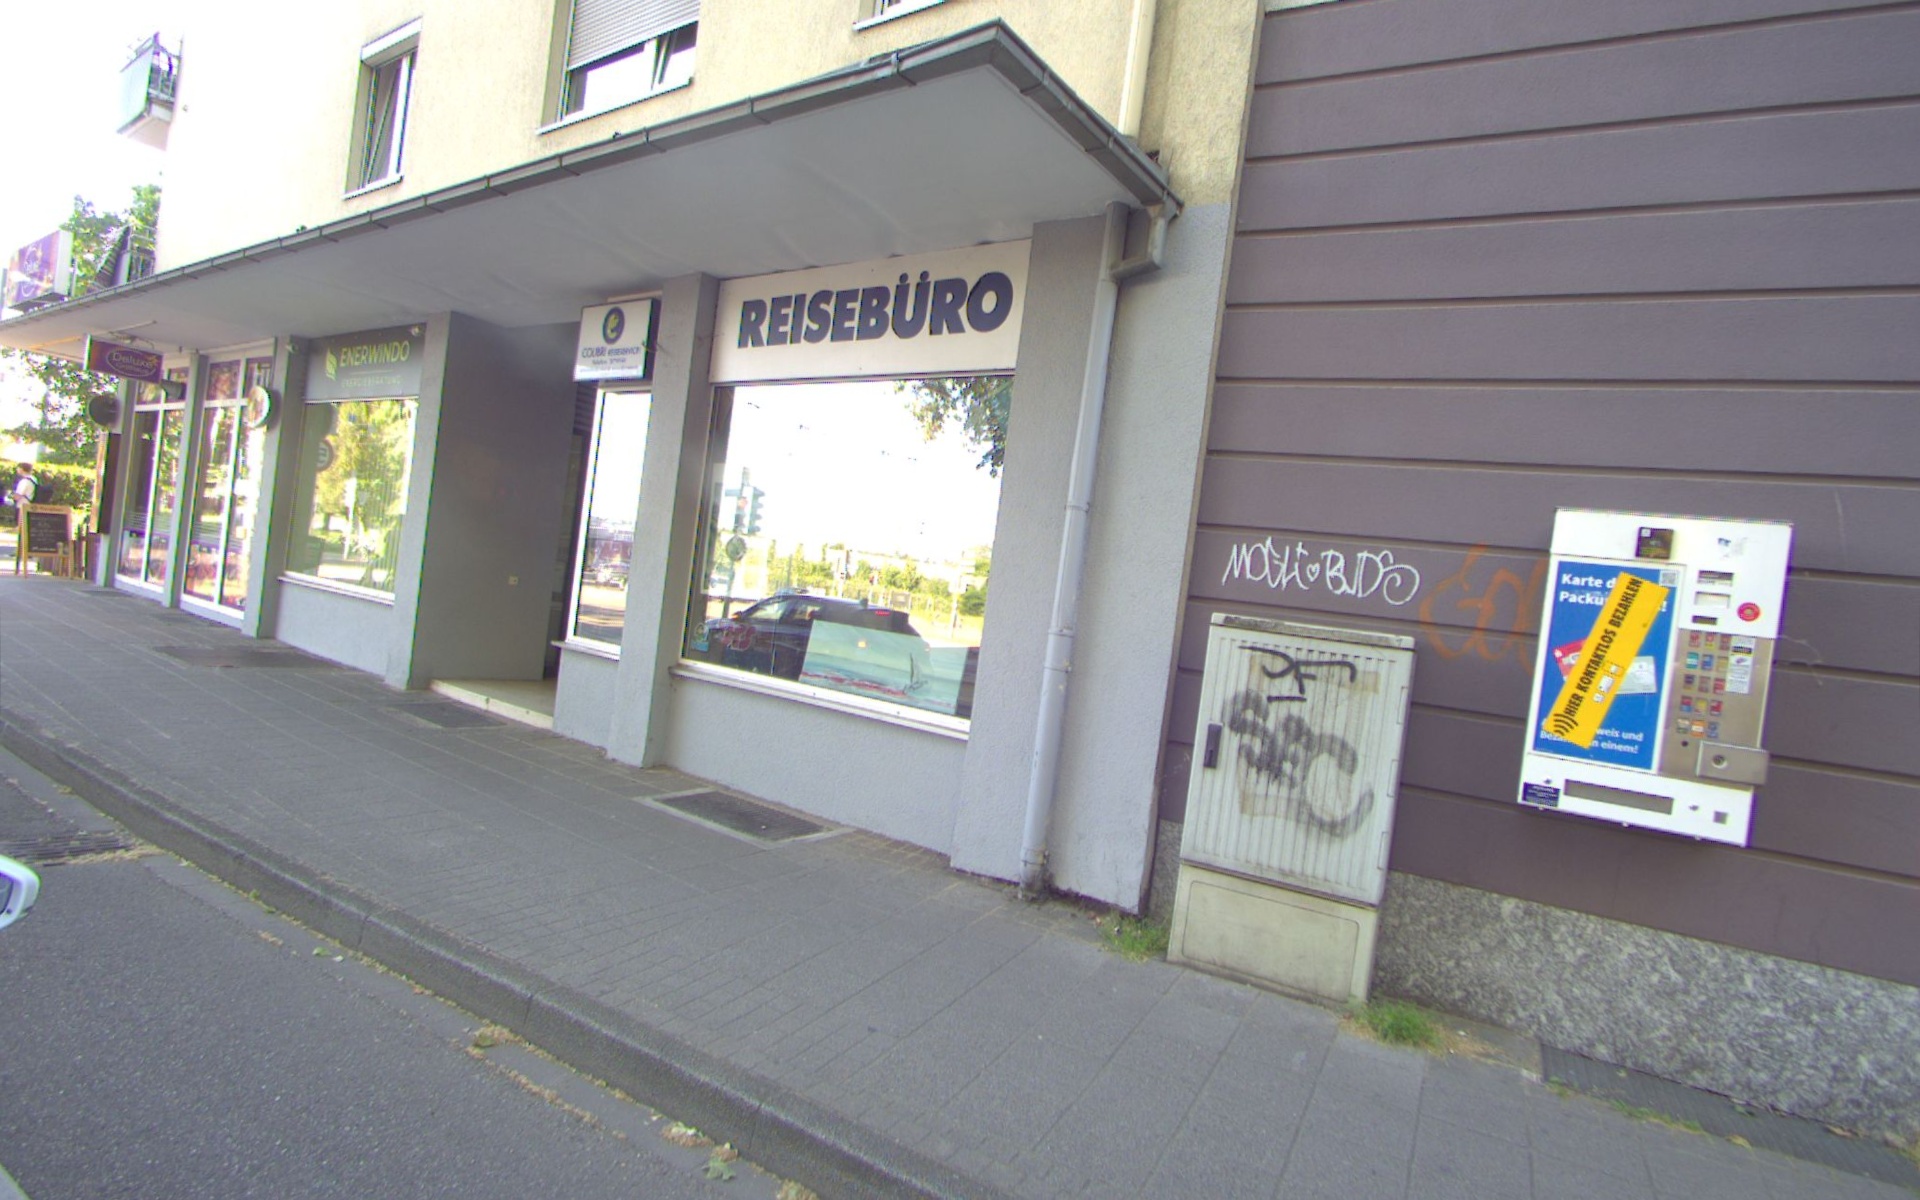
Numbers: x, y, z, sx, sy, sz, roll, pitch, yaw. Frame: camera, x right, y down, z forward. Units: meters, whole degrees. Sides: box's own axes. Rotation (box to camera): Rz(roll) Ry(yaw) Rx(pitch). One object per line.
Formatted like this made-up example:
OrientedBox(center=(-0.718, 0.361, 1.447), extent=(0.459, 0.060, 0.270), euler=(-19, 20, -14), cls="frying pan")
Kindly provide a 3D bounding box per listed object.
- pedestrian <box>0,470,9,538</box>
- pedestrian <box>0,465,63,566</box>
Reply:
OrientedBox(center=(-18.858, -1.658, 19.298), extent=(0.573, 1.783, 0.633), euler=(6, -1, 36), cls="pedestrian")
OrientedBox(center=(-18.428, -1.654, 19.805), extent=(0.731, 1.841, 0.635), euler=(7, -1, 7), cls="pedestrian")
